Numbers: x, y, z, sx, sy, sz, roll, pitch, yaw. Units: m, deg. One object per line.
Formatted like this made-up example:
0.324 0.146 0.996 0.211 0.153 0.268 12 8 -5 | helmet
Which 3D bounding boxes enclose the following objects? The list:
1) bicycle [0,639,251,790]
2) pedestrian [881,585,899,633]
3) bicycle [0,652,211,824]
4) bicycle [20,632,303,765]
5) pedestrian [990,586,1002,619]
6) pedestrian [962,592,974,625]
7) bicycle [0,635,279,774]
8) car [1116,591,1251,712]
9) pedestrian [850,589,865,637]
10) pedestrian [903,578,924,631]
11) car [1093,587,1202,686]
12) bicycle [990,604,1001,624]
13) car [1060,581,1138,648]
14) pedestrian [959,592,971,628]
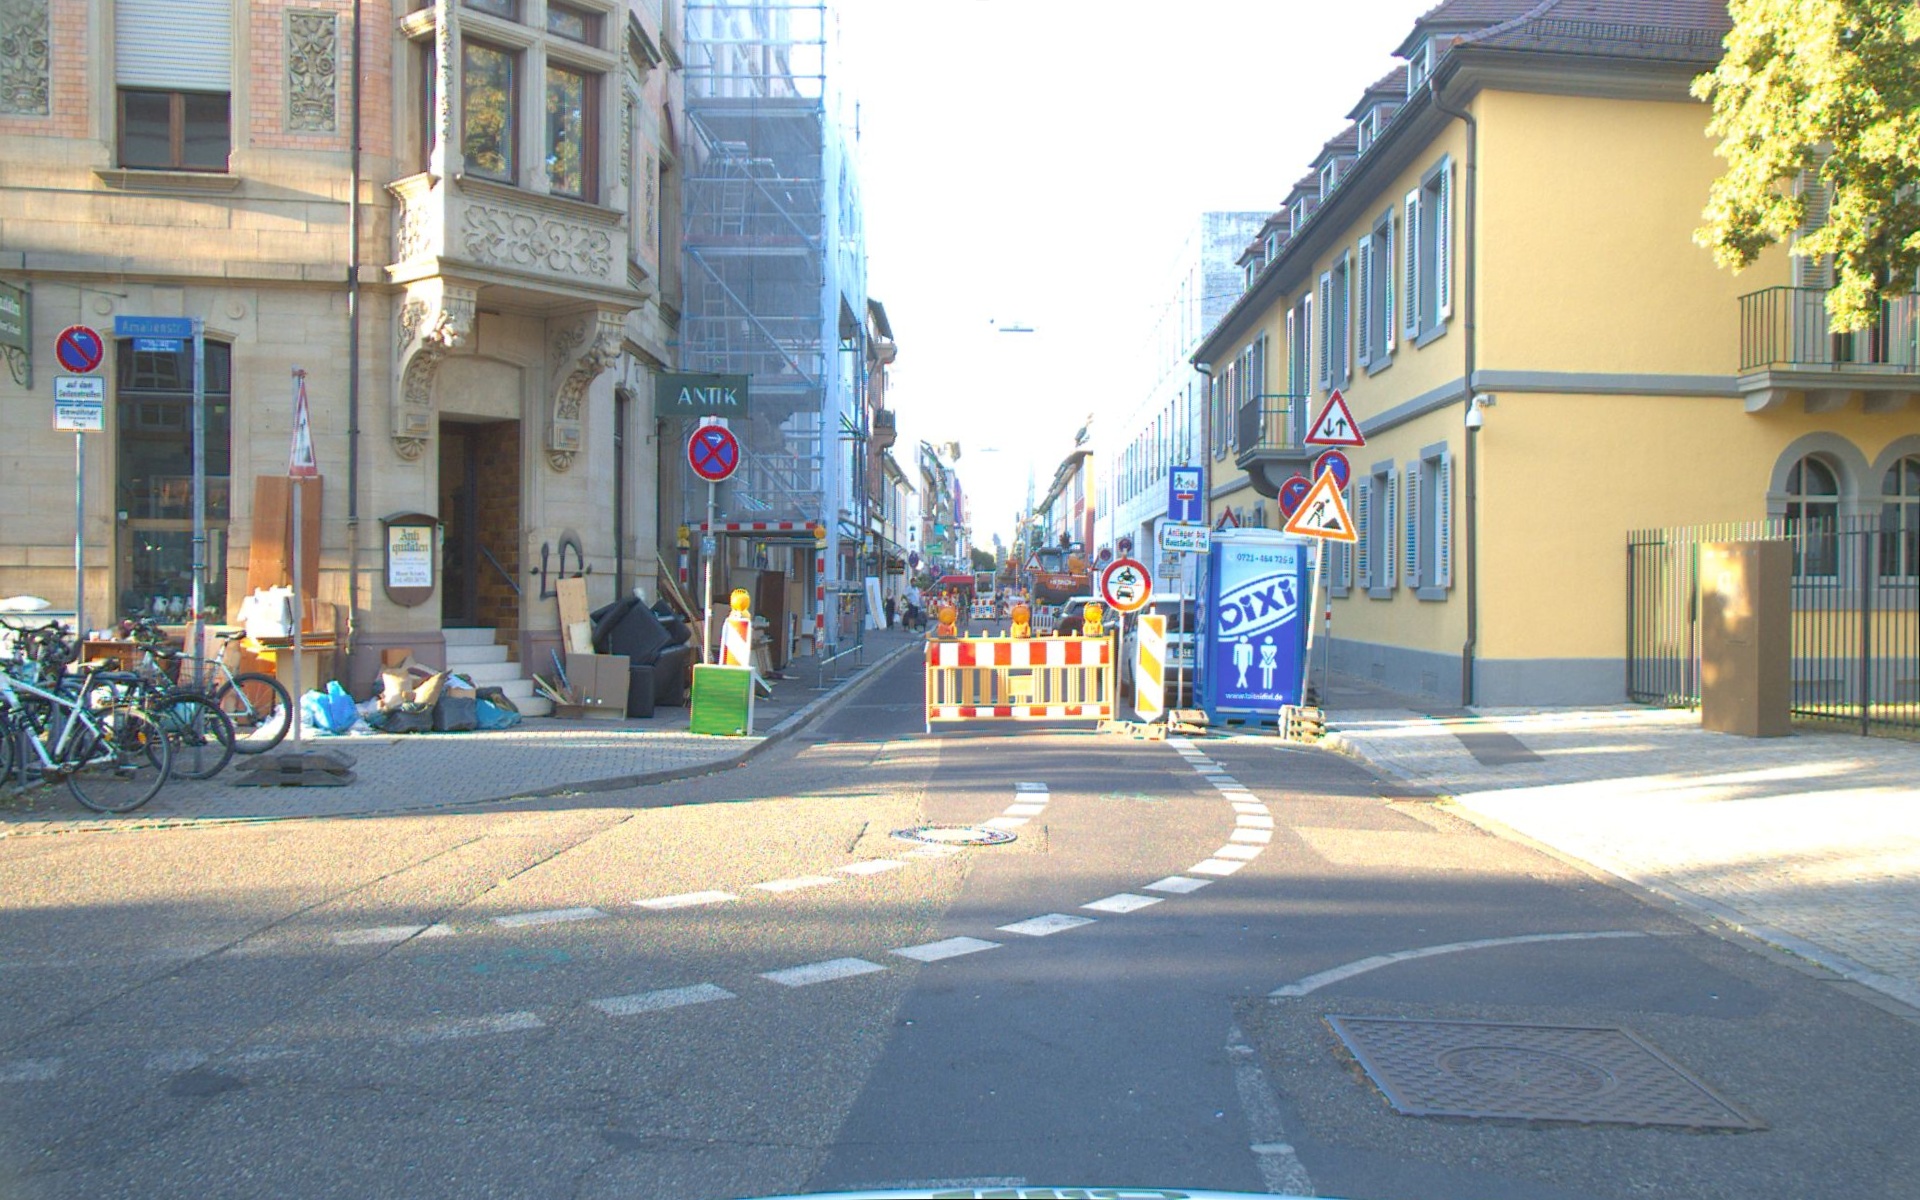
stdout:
-6.201 0.814 12.054 1.793 1.031 0.638 0 0 -10 | bicycle
-2.609 0.336 61.825 0.662 1.763 0.699 1 0 -2 | pedestrian
-5.937 0.891 10.819 1.791 1.065 0.570 0 1 -7 | bicycle
-6.639 0.804 13.826 2.065 1.058 0.464 0 0 -10 | bicycle
1.630 0.106 74.901 0.494 1.486 0.513 0 0 2 | pedestrian
0.350 0.377 73.334 0.494 1.486 0.513 0 0 7 | pedestrian
-6.548 0.807 13.053 2.065 1.031 0.638 0 0 -10 | bicycle
3.086 0.661 23.326 1.508 1.546 3.222 1 0 1 | car
-3.420 0.430 55.218 0.335 1.594 0.420 0 -1 23 | pedestrian
-1.603 0.150 57.174 0.501 1.795 0.505 0 0 -40 | pedestrian
3.123 0.567 28.146 1.508 1.546 3.980 0 1 2 | car
1.625 0.634 74.963 0.494 0.899 1.477 0 0 1 | bicycle
3.312 0.317 39.872 1.682 1.546 3.222 0 1 1 | car
0.230 0.420 70.387 0.494 1.486 0.512 0 0 1 | pedestrian
